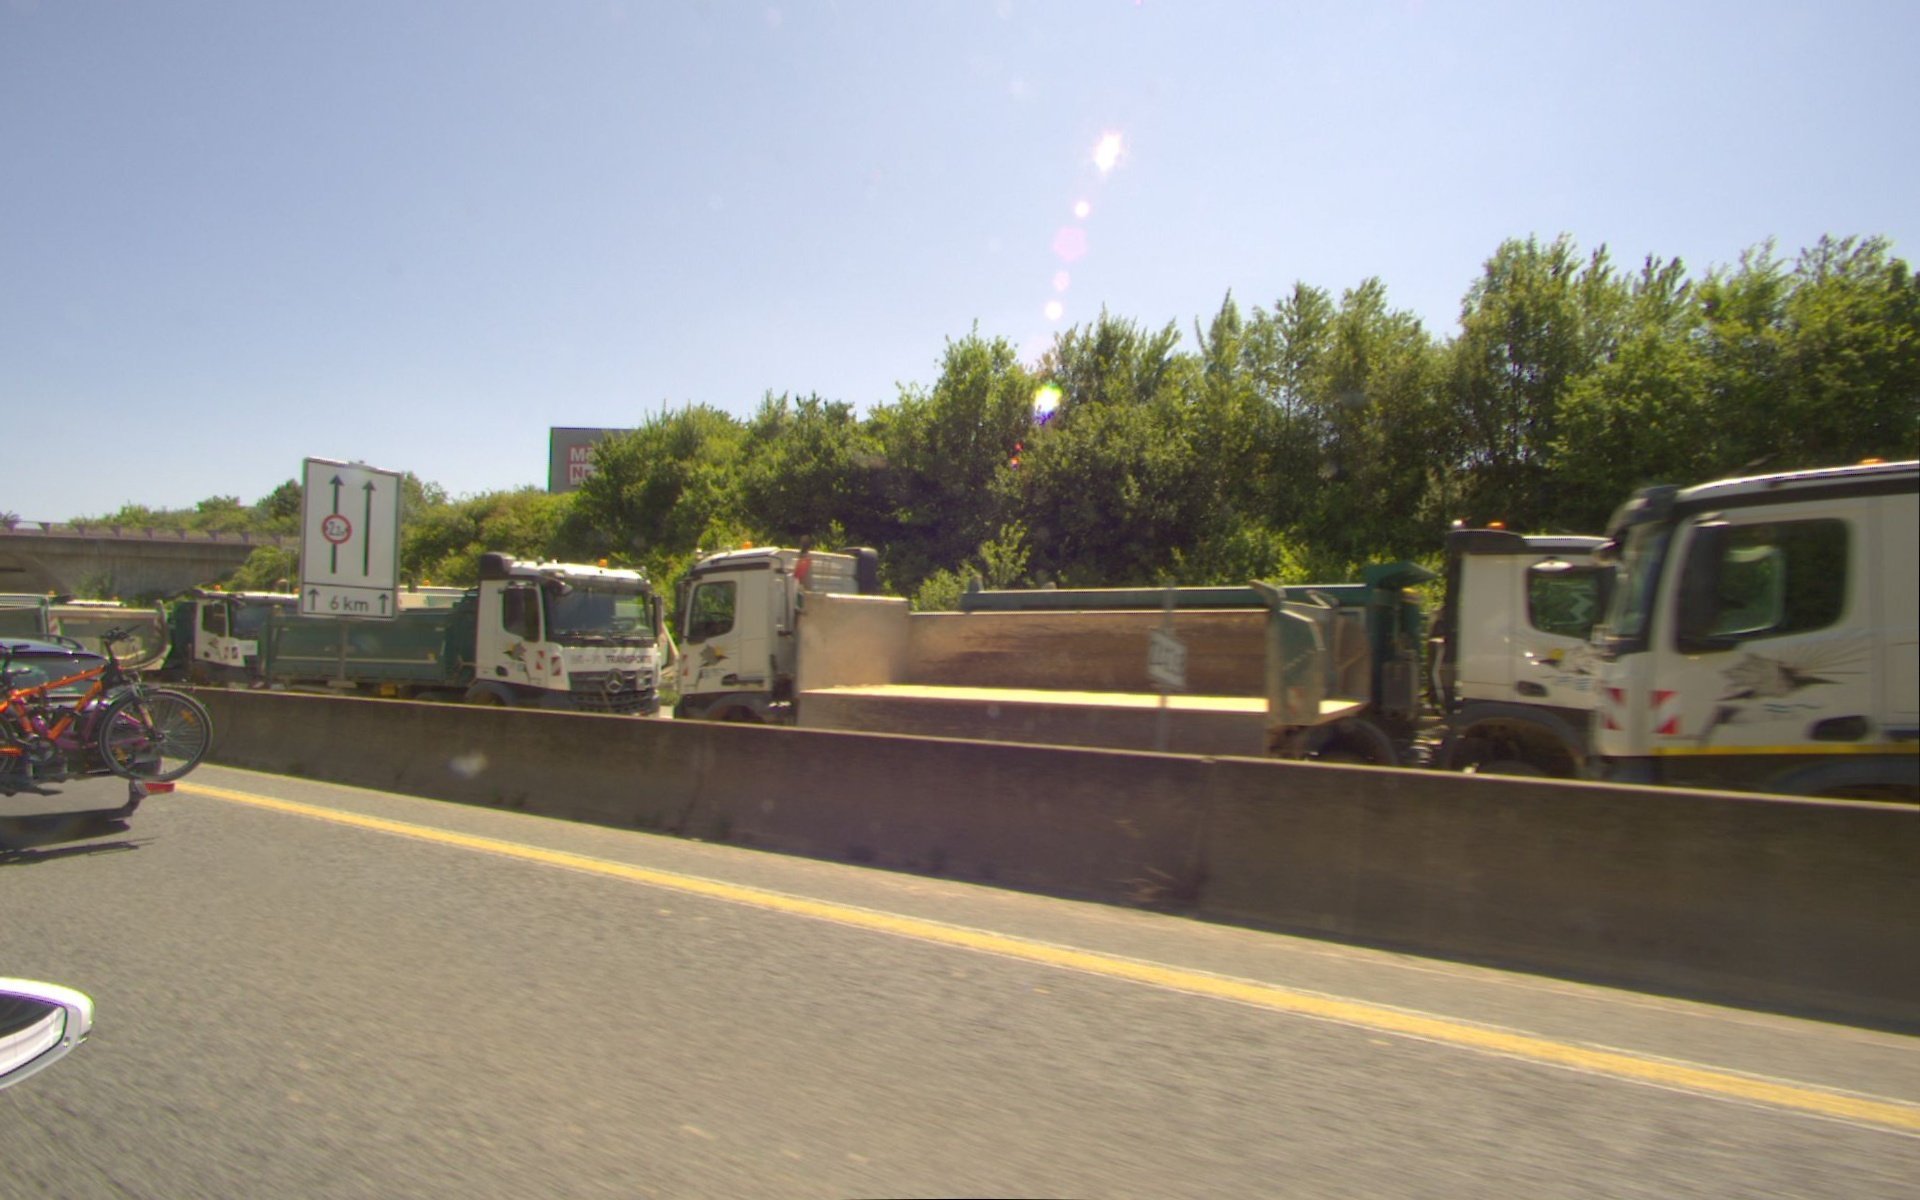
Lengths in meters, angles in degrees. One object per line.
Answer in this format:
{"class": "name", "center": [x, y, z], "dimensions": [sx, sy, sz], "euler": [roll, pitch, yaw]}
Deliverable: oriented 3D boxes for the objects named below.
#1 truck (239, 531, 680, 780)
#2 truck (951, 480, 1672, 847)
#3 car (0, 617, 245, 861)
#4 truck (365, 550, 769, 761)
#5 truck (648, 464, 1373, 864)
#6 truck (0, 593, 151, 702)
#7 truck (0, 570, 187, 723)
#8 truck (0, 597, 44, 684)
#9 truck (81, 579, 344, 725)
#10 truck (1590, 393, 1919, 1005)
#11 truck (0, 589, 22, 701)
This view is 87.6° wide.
{"class": "truck", "center": [-9.363, 0.907, 18.115], "dimensions": [9.464, 3.602, 2.535], "euler": [-1, -2, 32]}
{"class": "truck", "center": [4.085, 0.706, 13.051], "dimensions": [8.259, 3.555, 2.683], "euler": [-1, -2, 32]}
{"class": "car", "center": [-7.785, 0.923, 7.837], "dimensions": [4.878, 1.509, 1.896], "euler": [-1, -3, 33]}
{"class": "truck", "center": [-8.409, 1.054, 20.744], "dimensions": [9.464, 3.602, 2.683], "euler": [-1, -2, 32]}
{"class": "truck", "center": [0.180, 0.662, 12.337], "dimensions": [8.815, 3.555, 2.529], "euler": [-1, -2, 32]}
{"class": "truck", "center": [-31.919, 1.591, 35.128], "dimensions": [9.467, 3.420, 2.682], "euler": [-1, -2, 33]}
{"class": "truck", "center": [-24.750, 1.208, 27.307], "dimensions": [9.464, 3.602, 2.683], "euler": [-1, -2, 32]}
{"class": "truck", "center": [-41.595, 1.639, 41.525], "dimensions": [9.461, 3.421, 2.684], "euler": [-1, -2, 31]}
{"class": "truck", "center": [-21.347, 1.385, 28.374], "dimensions": [9.464, 3.602, 2.683], "euler": [-1, -2, 32]}
{"class": "truck", "center": [8.703, 0.578, 5.360], "dimensions": [8.965, 3.555, 2.529], "euler": [-1, -2, 32]}
{"class": "truck", "center": [-35.085, 1.479, 33.892], "dimensions": [9.273, 3.602, 2.683], "euler": [-1, -2, 33]}
